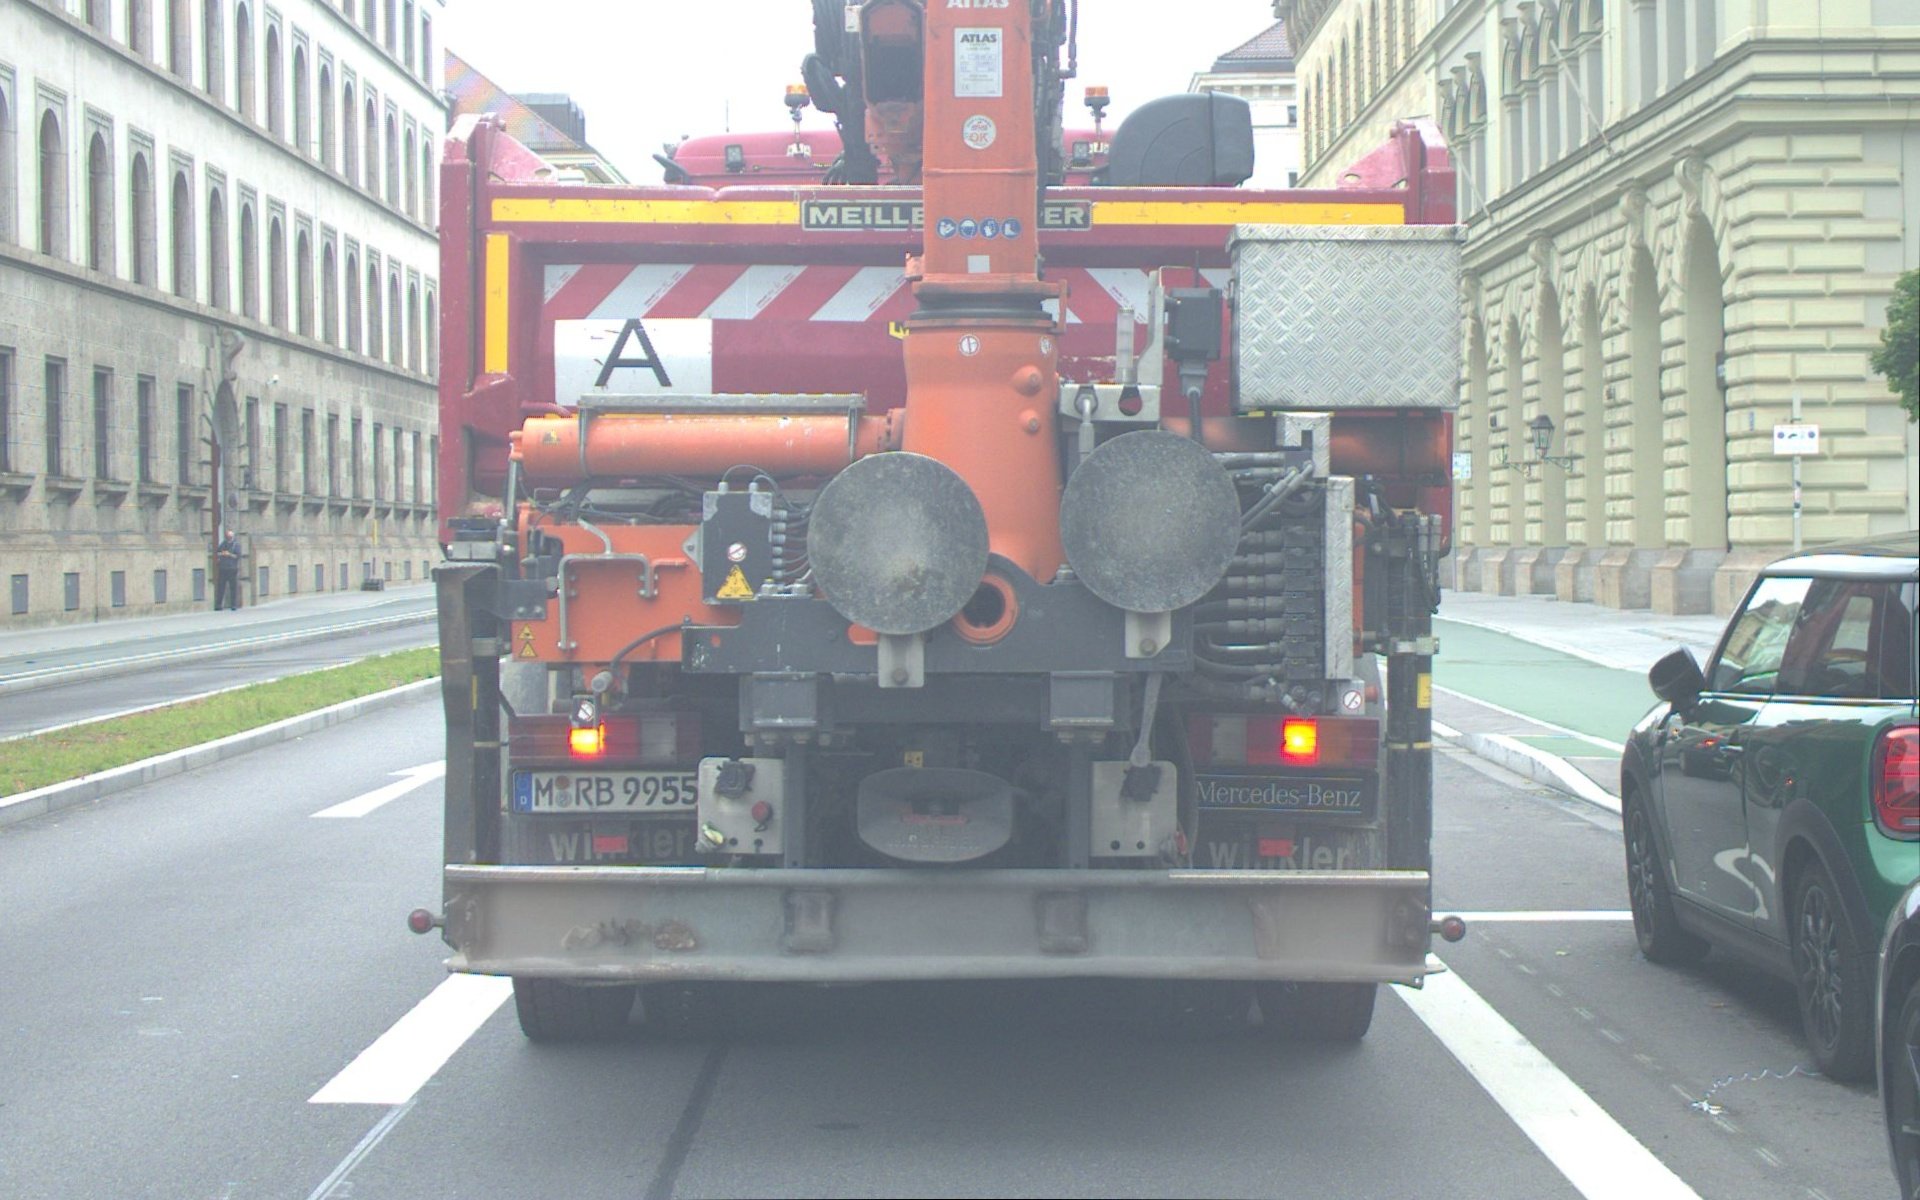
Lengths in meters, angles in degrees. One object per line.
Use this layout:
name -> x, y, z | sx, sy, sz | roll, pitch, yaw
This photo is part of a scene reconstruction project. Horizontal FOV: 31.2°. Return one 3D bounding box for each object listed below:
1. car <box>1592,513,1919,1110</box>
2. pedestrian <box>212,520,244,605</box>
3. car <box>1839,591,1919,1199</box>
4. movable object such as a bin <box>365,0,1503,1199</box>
car -> 3.034, 0.487, 10.369 | 1.610, 1.490, 3.425 | -1, 1, 0
pedestrian -> -15.849, -0.817, 74.462 | 0.588, 1.825, 0.499 | 0, 2, -1
car -> 2.604, 0.715, 4.655 | 1.680, 1.381, 4.427 | -1, 1, 0
movable object such as a bin -> -0.101, -0.568, 10.269 | 2.423, 3.599, 5.852 | 0, 1, -1
